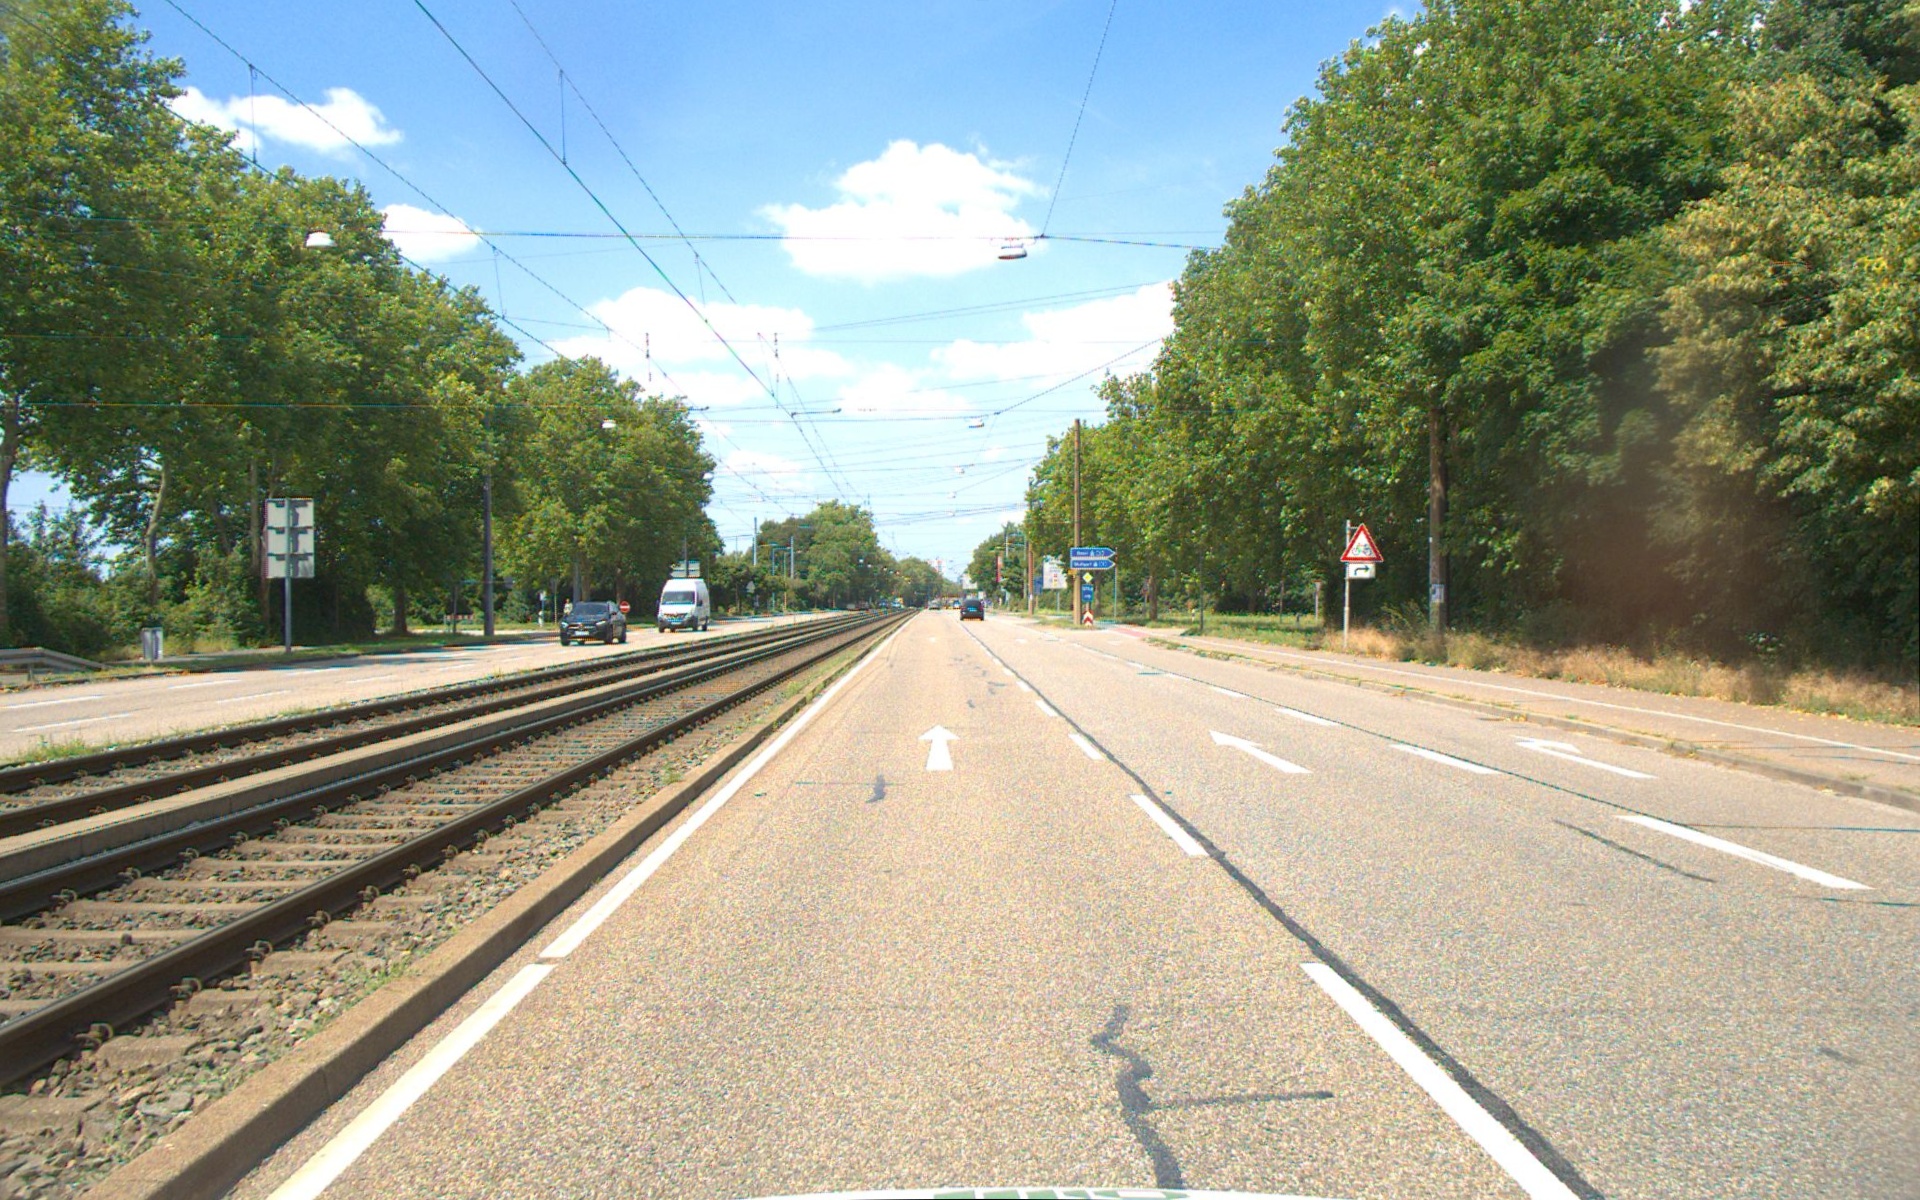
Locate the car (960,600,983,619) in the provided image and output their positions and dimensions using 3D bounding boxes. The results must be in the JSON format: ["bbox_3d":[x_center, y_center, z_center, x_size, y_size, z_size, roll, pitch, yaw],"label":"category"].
[{"bbox_3d":[0.827,0.704,124.075,1.554,1.366,3.271,-1,1,-2],"label":"car"}]

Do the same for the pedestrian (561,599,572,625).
[{"bbox_3d":[-23.896,0.742,100.453,0.503,1.578,0.703,-1,0,-7],"label":"pedestrian"}]

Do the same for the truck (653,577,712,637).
[{"bbox_3d":[-14.587,0.348,87.279,2.012,2.990,6.318,-2,0,-1],"label":"truck"}]

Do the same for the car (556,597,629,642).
[{"bbox_3d":[-13.692,0.699,61.904,1.781,1.541,4.427,-1,0,-1],"label":"car"}]

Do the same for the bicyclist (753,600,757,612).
[{"bbox_3d":[-22.303,0.648,179.941,0.444,1.295,0.398,0,0,1],"label":"bicyclist"}]

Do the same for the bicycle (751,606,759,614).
[{"bbox_3d":[-22.285,1.066,180.001,0.505,0.872,1.932,-2,0,2],"label":"bicycle"}]
